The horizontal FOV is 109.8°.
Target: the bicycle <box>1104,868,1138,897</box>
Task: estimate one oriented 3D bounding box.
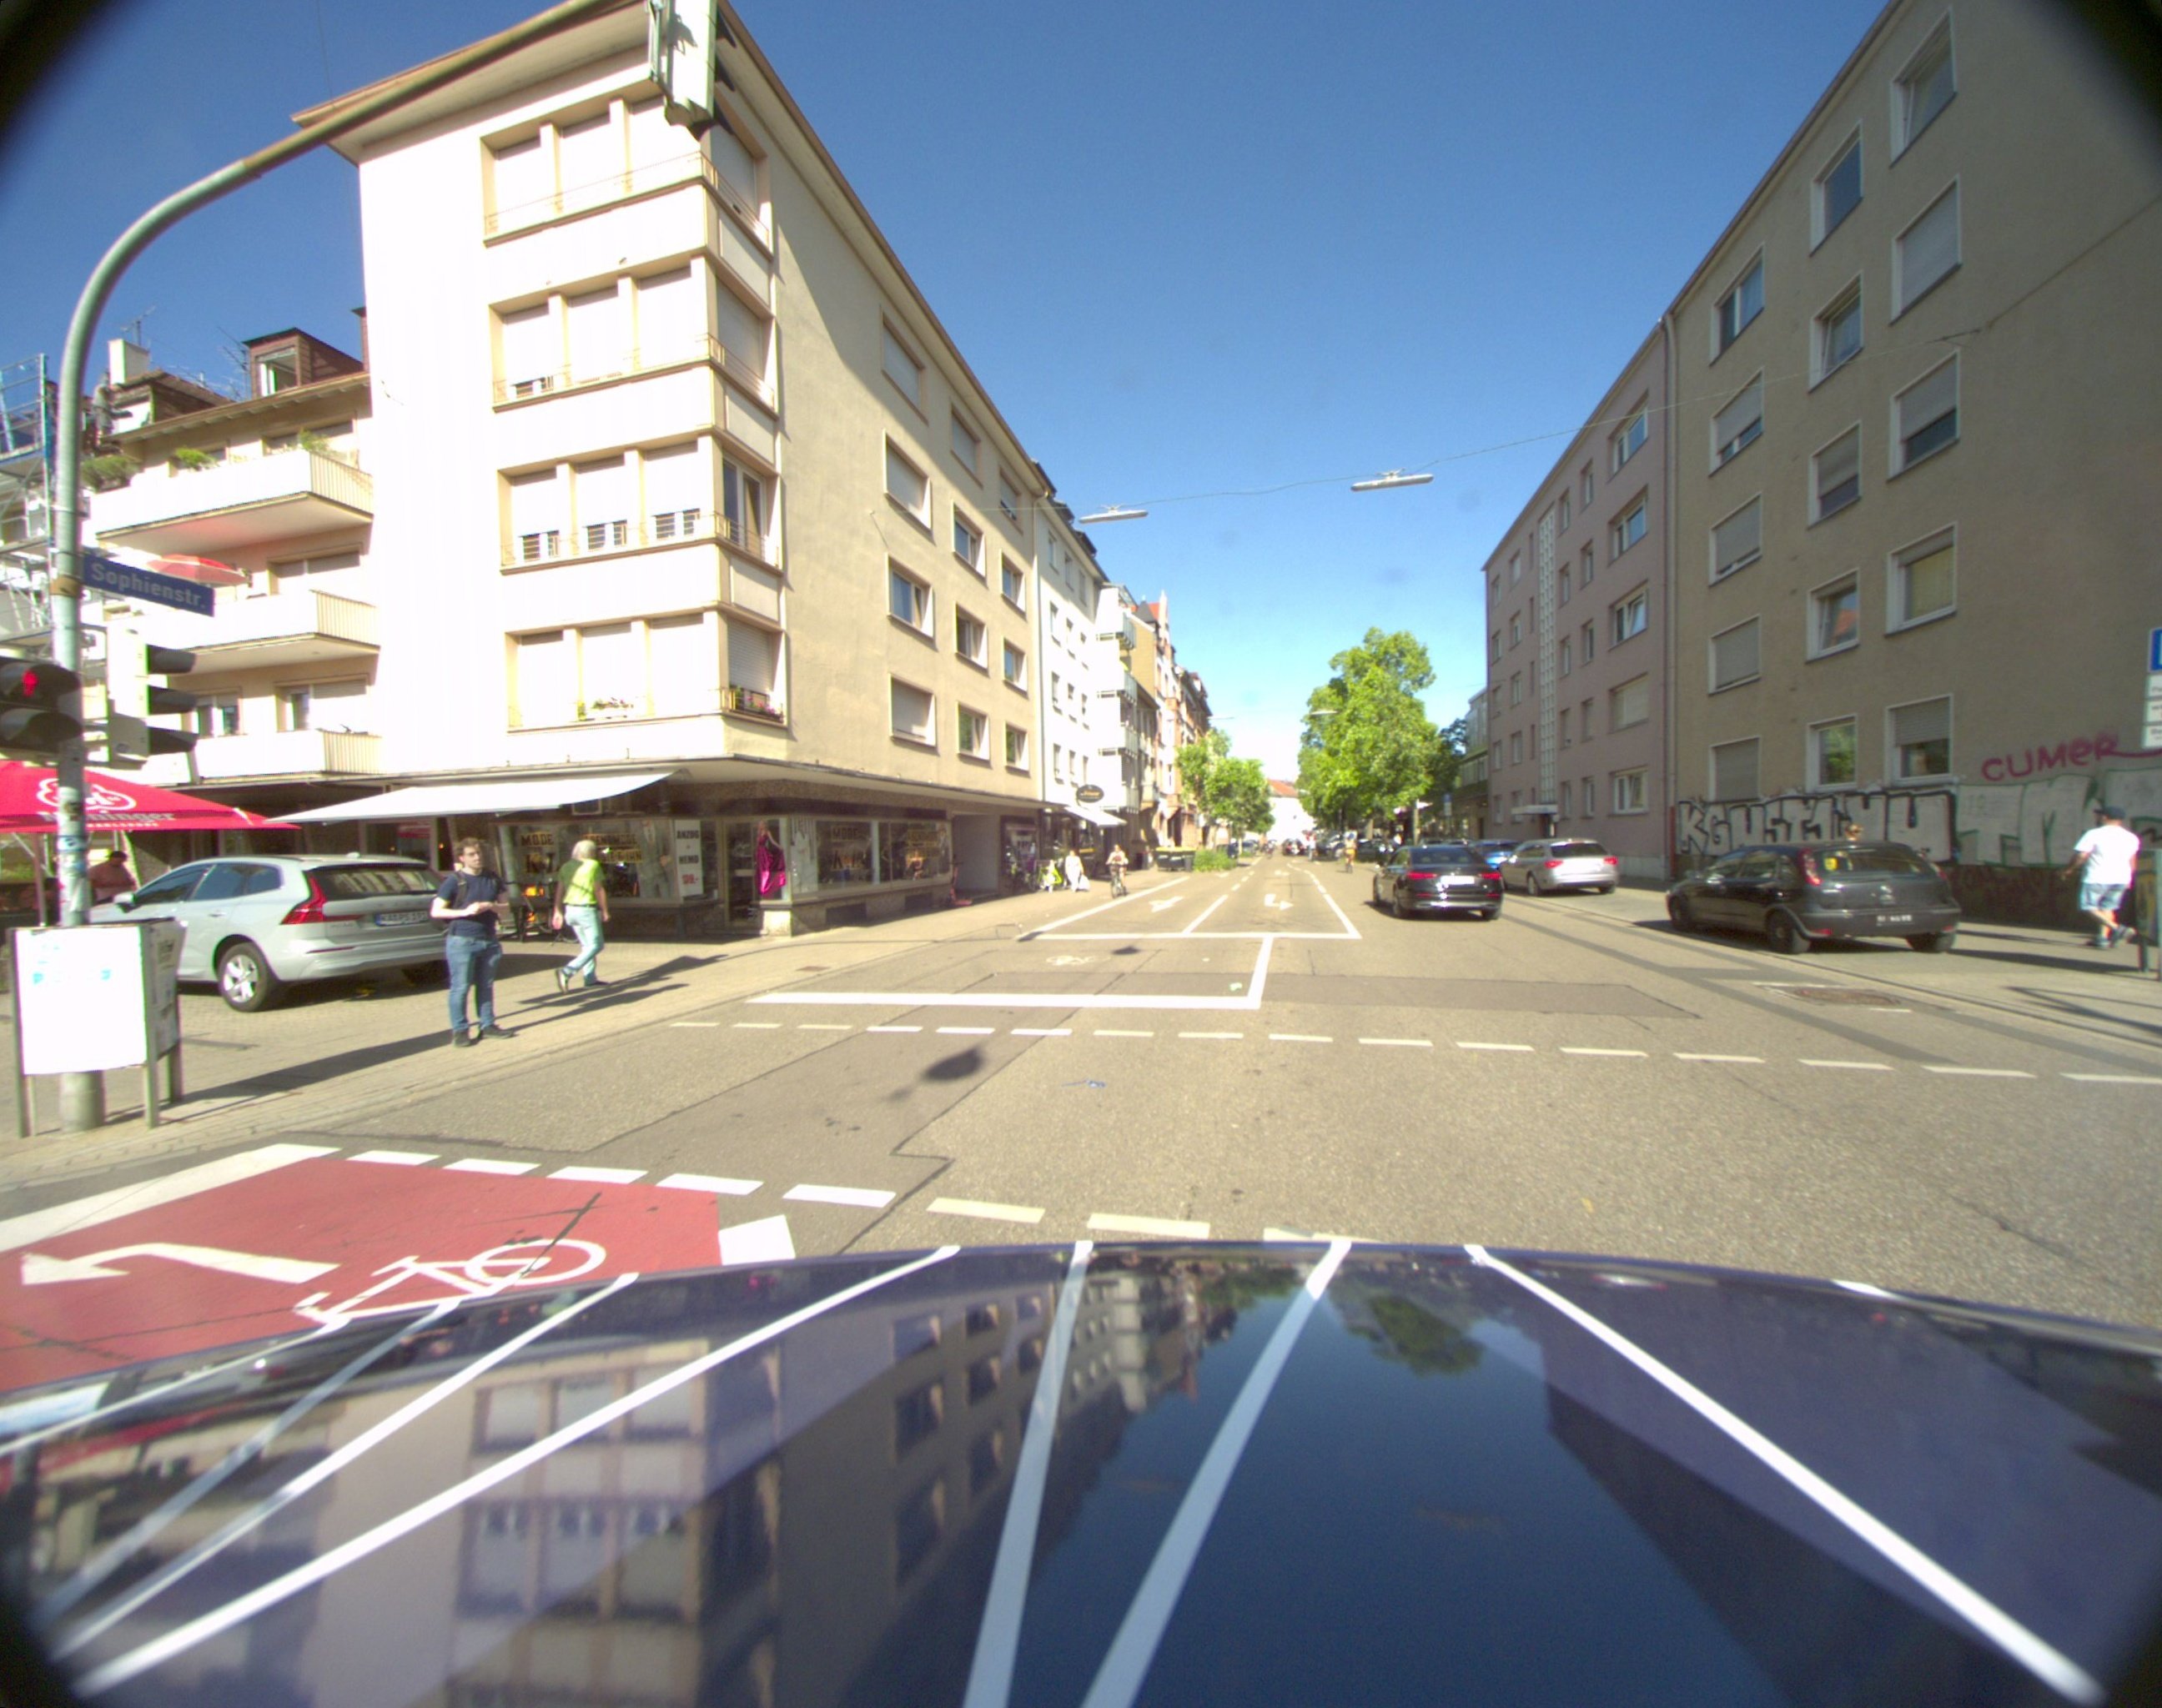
[{"bbox_3d":[1.260,0.887,23.707,0.581,0.801,1.711,-1,1,20],"label":"bicycle"}]

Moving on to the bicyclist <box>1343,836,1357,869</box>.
[{"bbox_3d":[12.604,-0.082,35.613,0.543,1.512,0.775,-1,2,15],"label":"bicyclist"}]

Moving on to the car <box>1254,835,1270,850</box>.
[{"bbox_3d":[19.254,-1.244,80.759,1.626,1.587,3.550,-1,1,15],"label":"car"}]

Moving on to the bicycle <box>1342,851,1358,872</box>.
[{"bbox_3d":[12.601,0.341,35.588,0.543,0.897,1.828,-1,1,15],"label":"bicycle"}]

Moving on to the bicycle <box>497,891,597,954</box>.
[{"bbox_3d":[-9.451,1.183,13.424,1.890,1.011,0.568,-1,2,26],"label":"bicycle"}]

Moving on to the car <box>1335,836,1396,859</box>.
[{"bbox_3d":[20.566,-0.496,55.028,3.992,1.543,1.915,-1,1,17],"label":"car"}]

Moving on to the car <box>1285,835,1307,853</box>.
[{"bbox_3d":[20.316,-0.961,71.838,1.909,1.543,4.004,-1,1,14],"label":"car"}]

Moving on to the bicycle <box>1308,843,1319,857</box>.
[{"bbox_3d":[16.849,-0.316,54.999,0.680,0.946,1.935,-1,1,15],"label":"bicycle"}]

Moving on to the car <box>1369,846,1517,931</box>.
[{"bbox_3d":[7.158,0.576,15.500,1.807,1.405,4.429,1,2,13],"label":"car"}]

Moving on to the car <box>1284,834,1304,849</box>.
[{"bbox_3d":[22.525,-1.323,80.485,1.909,1.543,4.004,-1,1,14],"label":"car"}]

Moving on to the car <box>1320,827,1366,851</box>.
[{"bbox_3d":[23.655,-1.335,68.706,3.871,2.031,1.915,-1,1,17],"label":"car"}]

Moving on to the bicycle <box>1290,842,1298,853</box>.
[{"bbox_3d":[18.640,-0.567,66.506,0.680,0.947,1.935,1,2,15],"label":"bicycle"}]

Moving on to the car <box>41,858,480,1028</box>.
[{"bbox_3d":[-9.590,0.928,8.983,3.992,1.653,1.827,-1,1,15],"label":"car"}]

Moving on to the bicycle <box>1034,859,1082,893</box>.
[{"bbox_3d":[-0.810,0.757,26.586,1.496,1.100,0.722,-1,1,-17],"label":"bicycle"}]

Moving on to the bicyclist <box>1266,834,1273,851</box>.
[{"bbox_3d":[16.104,-0.970,64.873,0.543,1.383,0.789,-1,1,12],"label":"bicyclist"}]

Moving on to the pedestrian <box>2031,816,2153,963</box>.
[{"bbox_3d":[11.991,0.401,9.036,0.573,1.679,0.670,-1,2,18],"label":"pedestrian"}]

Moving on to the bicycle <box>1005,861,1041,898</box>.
[{"bbox_3d":[-1.842,0.794,24.337,0.406,1.079,1.802,2,2,20],"label":"bicycle"}]

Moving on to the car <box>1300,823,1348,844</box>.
[{"bbox_3d":[30.533,-2.570,95.733,5.552,2.379,1.979,-1,1,11],"label":"car"}]

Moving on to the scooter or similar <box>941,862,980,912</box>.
[{"bbox_3d":[-3.131,0.844,19.781,0.526,1.218,1.230,-1,1,15],"label":"scooter or similar"}]

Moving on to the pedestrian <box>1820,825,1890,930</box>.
[{"bbox_3d":[11.899,0.345,11.698,0.532,1.572,0.563,-1,2,15],"label":"pedestrian"}]

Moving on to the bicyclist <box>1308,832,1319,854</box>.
[{"bbox_3d":[16.880,-0.793,55.103,0.680,1.621,0.900,-1,1,15],"label":"bicyclist"}]

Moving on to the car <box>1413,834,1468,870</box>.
[{"bbox_3d":[17.354,-0.146,36.883,1.725,1.567,4.162,-3,1,16],"label":"car"}]

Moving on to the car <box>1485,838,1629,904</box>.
[{"bbox_3d":[12.628,0.362,20.537,1.826,1.494,4.806,-3,1,14],"label":"car"}]

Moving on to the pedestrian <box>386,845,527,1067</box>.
[{"bbox_3d":[-5.342,0.840,6.536,0.628,1.812,0.605,-1,2,0],"label":"pedestrian"}]

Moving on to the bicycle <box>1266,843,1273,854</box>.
[{"bbox_3d":[16.130,-0.495,64.927,0.543,0.897,1.827,-1,1,13],"label":"bicycle"}]

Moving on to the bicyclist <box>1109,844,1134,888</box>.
[{"bbox_3d":[1.273,0.367,23.755,0.581,1.369,0.665,-1,2,20],"label":"bicyclist"}]

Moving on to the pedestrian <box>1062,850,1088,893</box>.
[{"bbox_3d":[-0.197,0.604,26.096,0.775,1.434,0.625,-1,2,10],"label":"pedestrian"}]

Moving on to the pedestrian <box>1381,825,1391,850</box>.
[{"bbox_3d":[22.472,-1.193,55.923,0.622,1.796,0.503,-1,2,16],"label":"pedestrian"}]

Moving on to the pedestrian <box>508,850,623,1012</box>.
[{"bbox_3d":[-5.926,0.849,8.764,0.662,1.748,0.764,-1,2,20],"label":"pedestrian"}]

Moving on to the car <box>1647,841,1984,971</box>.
[{"bbox_3d":[9.969,0.599,10.786,1.694,1.440,3.860,-3,1,14],"label":"car"}]

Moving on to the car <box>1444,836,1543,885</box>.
[{"bbox_3d":[14.279,0.168,26.621,1.826,1.494,4.806,-3,1,14],"label":"car"}]

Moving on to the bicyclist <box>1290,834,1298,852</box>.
[{"bbox_3d":[18.630,-0.983,66.483,0.680,1.567,0.900,1,2,15],"label":"bicyclist"}]

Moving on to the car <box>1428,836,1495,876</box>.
[{"bbox_3d":[15.638,0.036,31.427,1.725,1.459,4.162,-3,1,16],"label":"car"}]

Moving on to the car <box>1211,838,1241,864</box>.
[{"bbox_3d":[9.583,-0.214,50.089,1.626,1.587,3.550,-1,1,15],"label":"car"}]
